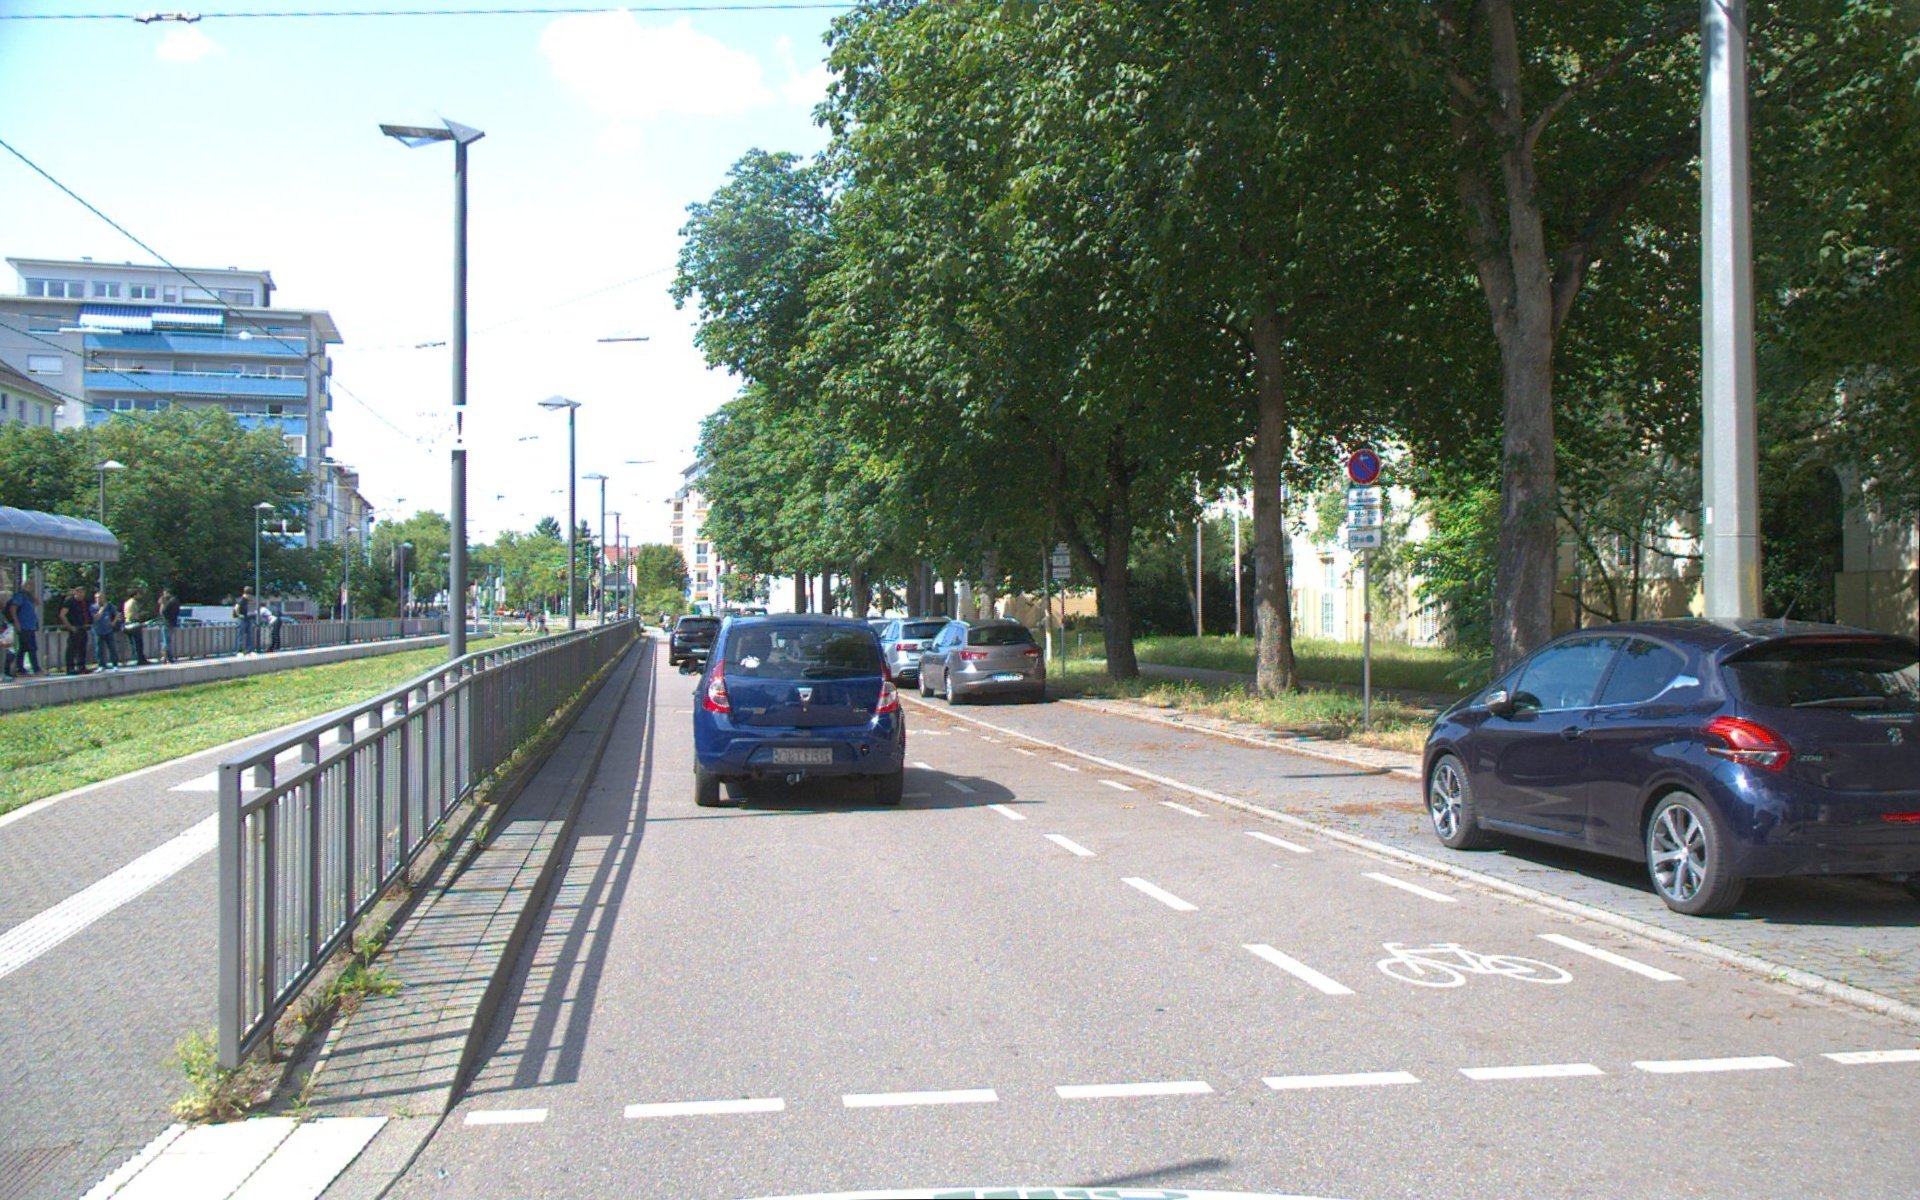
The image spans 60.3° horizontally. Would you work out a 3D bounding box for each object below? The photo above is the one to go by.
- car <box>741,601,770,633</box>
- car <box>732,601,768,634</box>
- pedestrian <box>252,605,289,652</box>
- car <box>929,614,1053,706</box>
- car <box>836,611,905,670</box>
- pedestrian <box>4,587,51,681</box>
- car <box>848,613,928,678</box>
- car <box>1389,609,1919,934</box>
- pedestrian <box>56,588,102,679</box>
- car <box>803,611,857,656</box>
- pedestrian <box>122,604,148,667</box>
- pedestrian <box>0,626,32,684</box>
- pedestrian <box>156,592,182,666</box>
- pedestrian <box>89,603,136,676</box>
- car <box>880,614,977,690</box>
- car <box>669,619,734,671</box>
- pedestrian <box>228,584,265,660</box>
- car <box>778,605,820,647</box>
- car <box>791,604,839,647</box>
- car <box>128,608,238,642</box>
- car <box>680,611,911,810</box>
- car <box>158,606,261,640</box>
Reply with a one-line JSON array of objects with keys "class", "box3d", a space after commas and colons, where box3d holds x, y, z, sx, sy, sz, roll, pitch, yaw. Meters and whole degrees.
[{"class": "car", "box3d": [-11.967, 0.977, 97.009, 1.635, 1.803, 3.995, 0, 0, -6]}, {"class": "car", "box3d": [-11.527, 0.946, 90.913, 1.794, 1.792, 3.996, 0, 0, -5]}, {"class": "pedestrian", "box3d": [-21.963, 0.899, 52.669, 1.016, 1.463, 0.698, -2, 0, -25]}, {"class": "car", "box3d": [0.488, 1.028, 29.949, 1.825, 1.471, 3.996, -2, 0, -5]}, {"class": "car", "box3d": [-2.537, 1.100, 46.289, 1.815, 1.542, 3.996, 0, 0, -5]}, {"class": "pedestrian", "box3d": [-17.911, 0.644, 31.766, 0.582, 1.766, 0.556, -1, 0, -5]}, {"class": "car", "box3d": [-1.859, 1.111, 41.682, 1.825, 1.471, 3.996, -2, 0, -5]}, {"class": "car", "box3d": [4.190, 0.802, 9.701, 1.734, 1.458, 3.894, -1, 0, -11]}, {"class": "pedestrian", "box3d": [-17.531, 0.656, 32.920, 0.592, 1.797, 0.639, 0, -1, -1]}, {"class": "car", "box3d": [-4.634, 1.166, 58.905, 1.825, 1.471, 3.996, -2, 0, -5]}, {"class": "pedestrian", "box3d": [-19.597, 0.836, 39.284, 0.481, 1.477, 0.461, -1, 0, -20]}, {"class": "pedestrian", "box3d": [-17.155, 0.990, 29.382, 0.907, 1.006, 0.796, -2, -2, -8]}, {"class": "pedestrian", "box3d": [-18.824, 0.680, 39.360, 0.481, 1.742, 0.461, -1, 0, -20]}, {"class": "pedestrian", "box3d": [-17.236, 0.799, 33.635, 0.641, 1.451, 0.562, -1, 0, 27]}, {"class": "car", "box3d": [-0.742, 1.090, 35.888, 1.825, 1.471, 3.996, -2, 0, -5]}, {"class": "car", "box3d": [-7.549, 1.300, 48.515, 1.667, 1.392, 3.510, 0, 1, -6]}, {"class": "pedestrian", "box3d": [-19.516, 0.591, 45.256, 0.786, 2.049, 0.661, 0, -1, -7]}, {"class": "car", "box3d": [-7.090, 1.099, 72.624, 1.588, 1.780, 3.991, 0, 0, -9]}, {"class": "car", "box3d": [-5.605, 0.962, 64.099, 1.792, 1.564, 3.996, -1, 0, -5]}, {"class": "car", "box3d": [-32.828, 1.036, 69.978, 1.606, 1.410, 3.987, -1, 0, 35]}, {"class": "car", "box3d": [-1.493, 0.842, 14.346, 1.735, 1.487, 3.768, 0, 0, -8]}, {"class": "car", "box3d": [-34.053, 1.034, 75.088, 3.970, 1.472, 1.700, 0, 0, -45]}]
